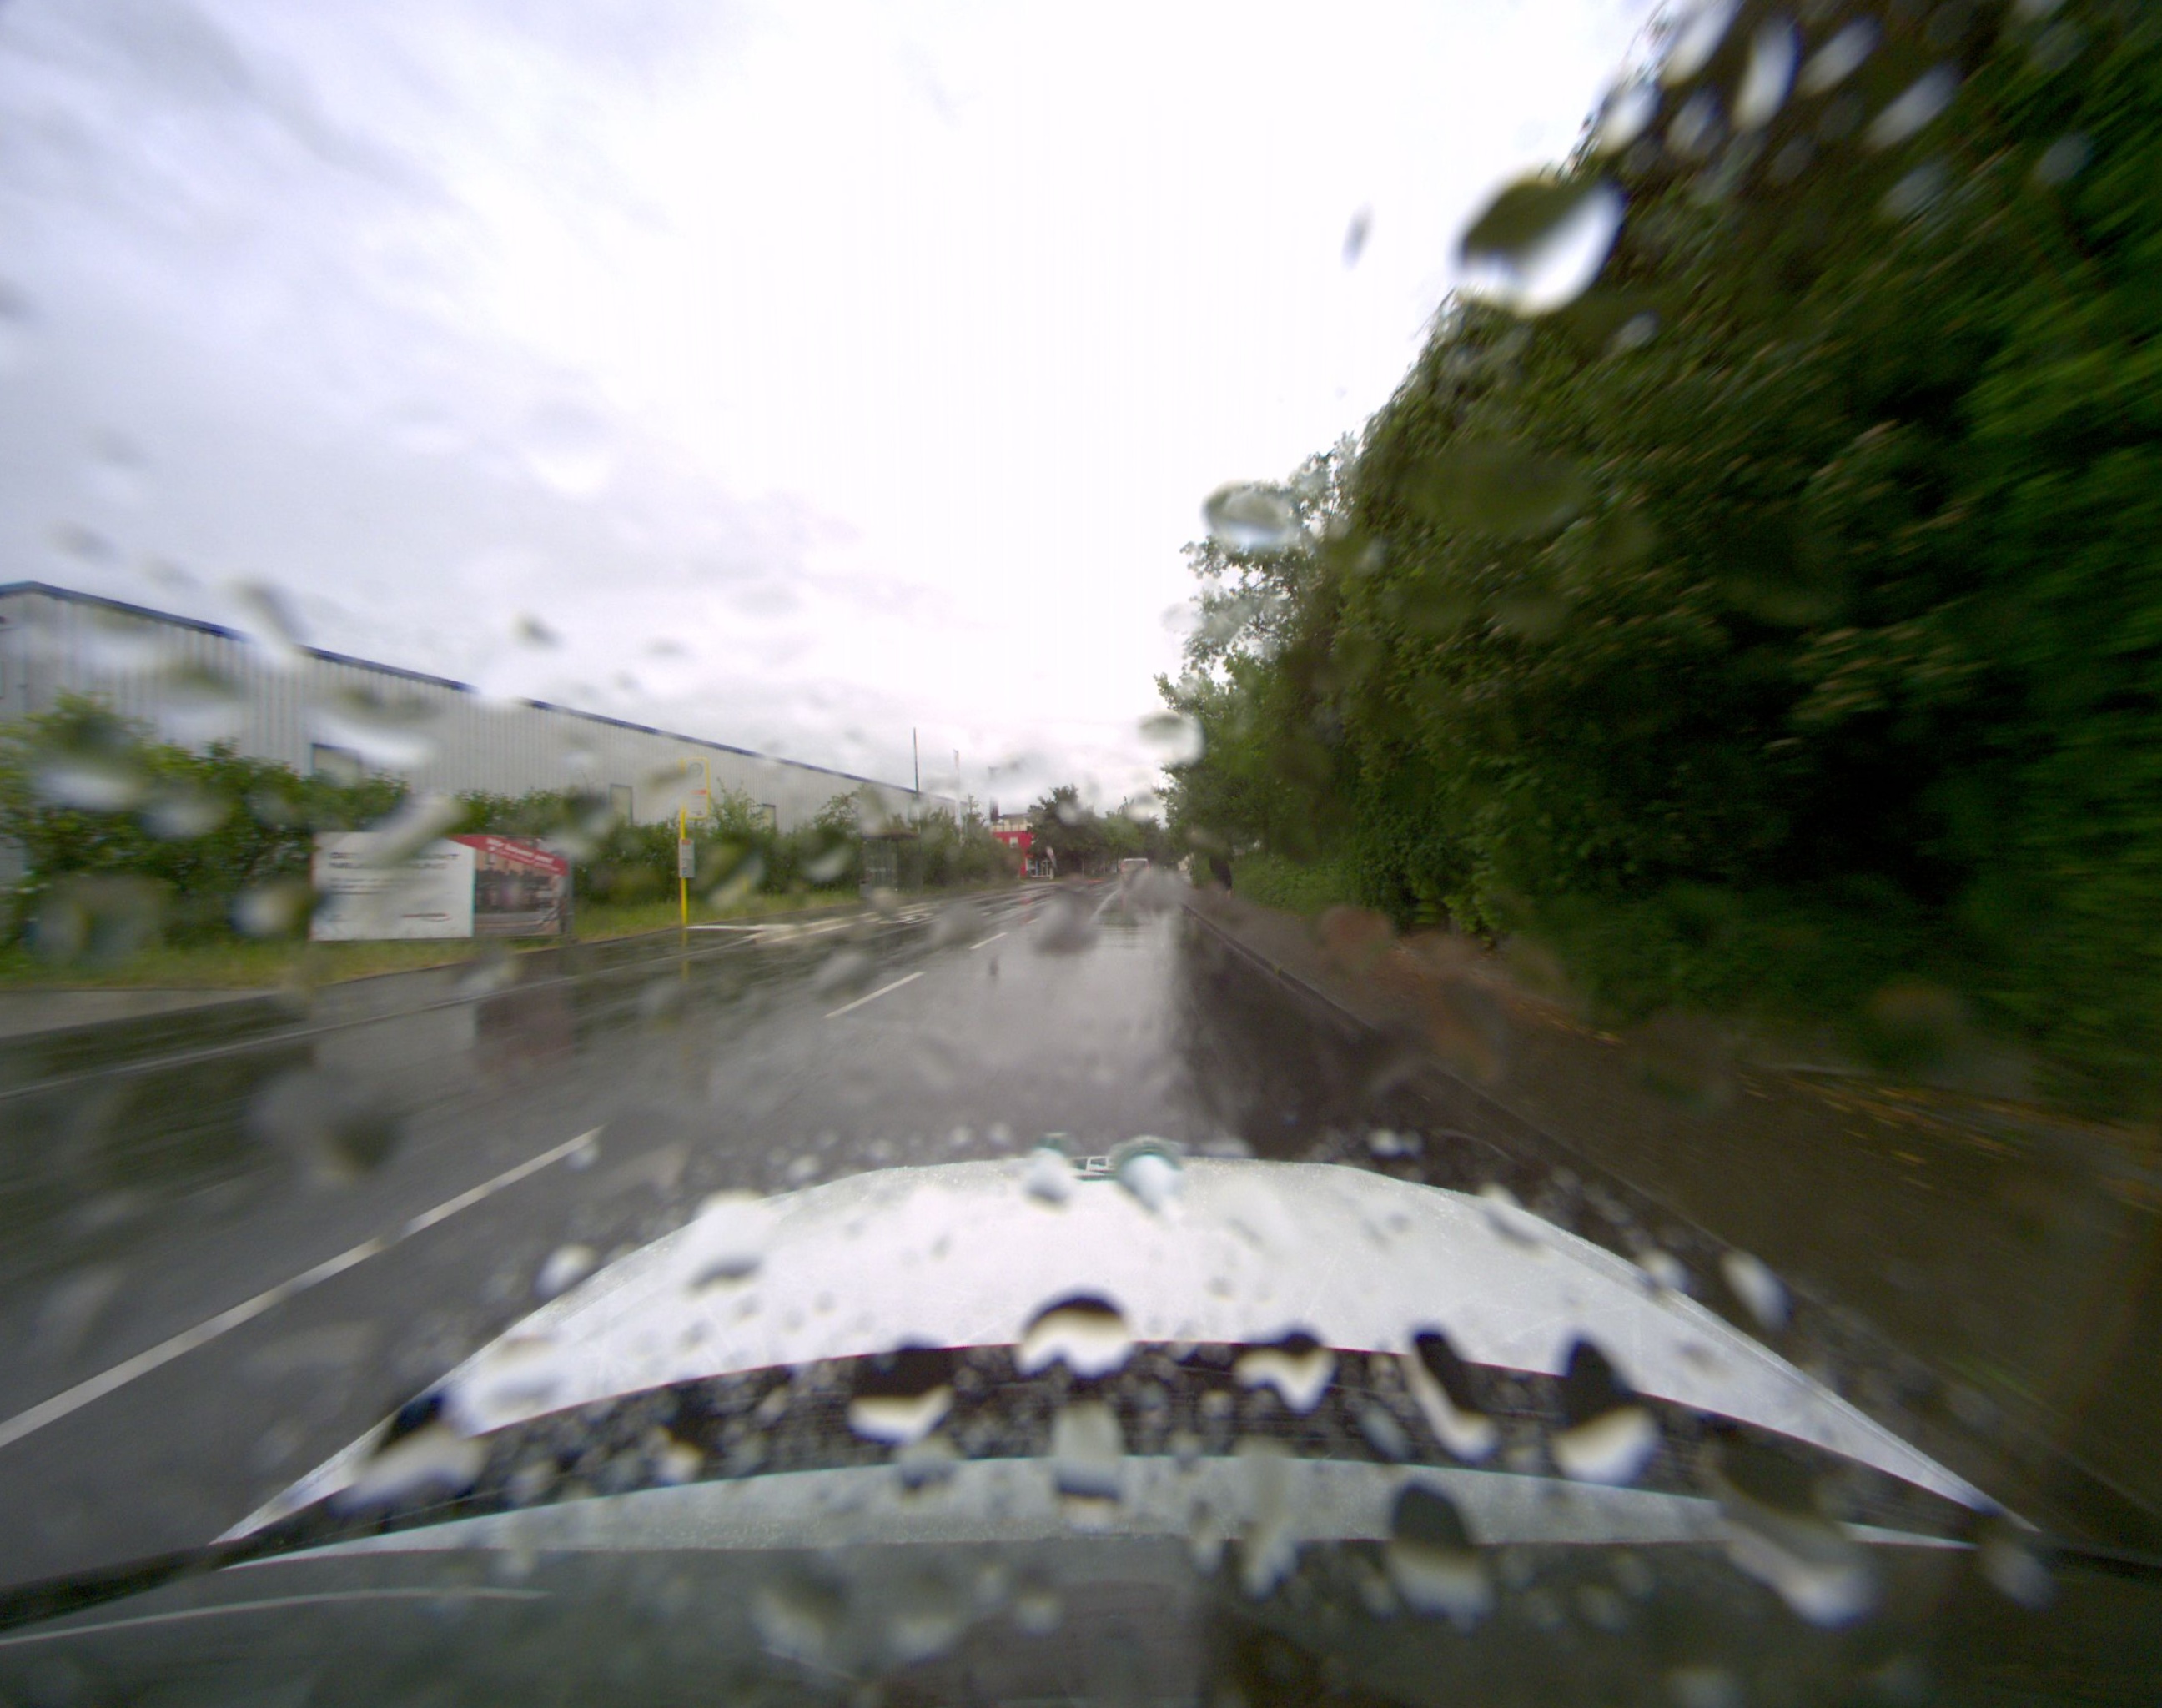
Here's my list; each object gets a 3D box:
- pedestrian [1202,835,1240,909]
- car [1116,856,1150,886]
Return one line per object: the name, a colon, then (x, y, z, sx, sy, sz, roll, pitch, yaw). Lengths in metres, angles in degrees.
pedestrian: (3.585, 0.453, 20.903, 0.742, 1.838, 0.890, -3, -1, 2)
car: (3.519, 1.130, 54.551, 2.107, 1.888, 4.508, -1, 0, 5)
